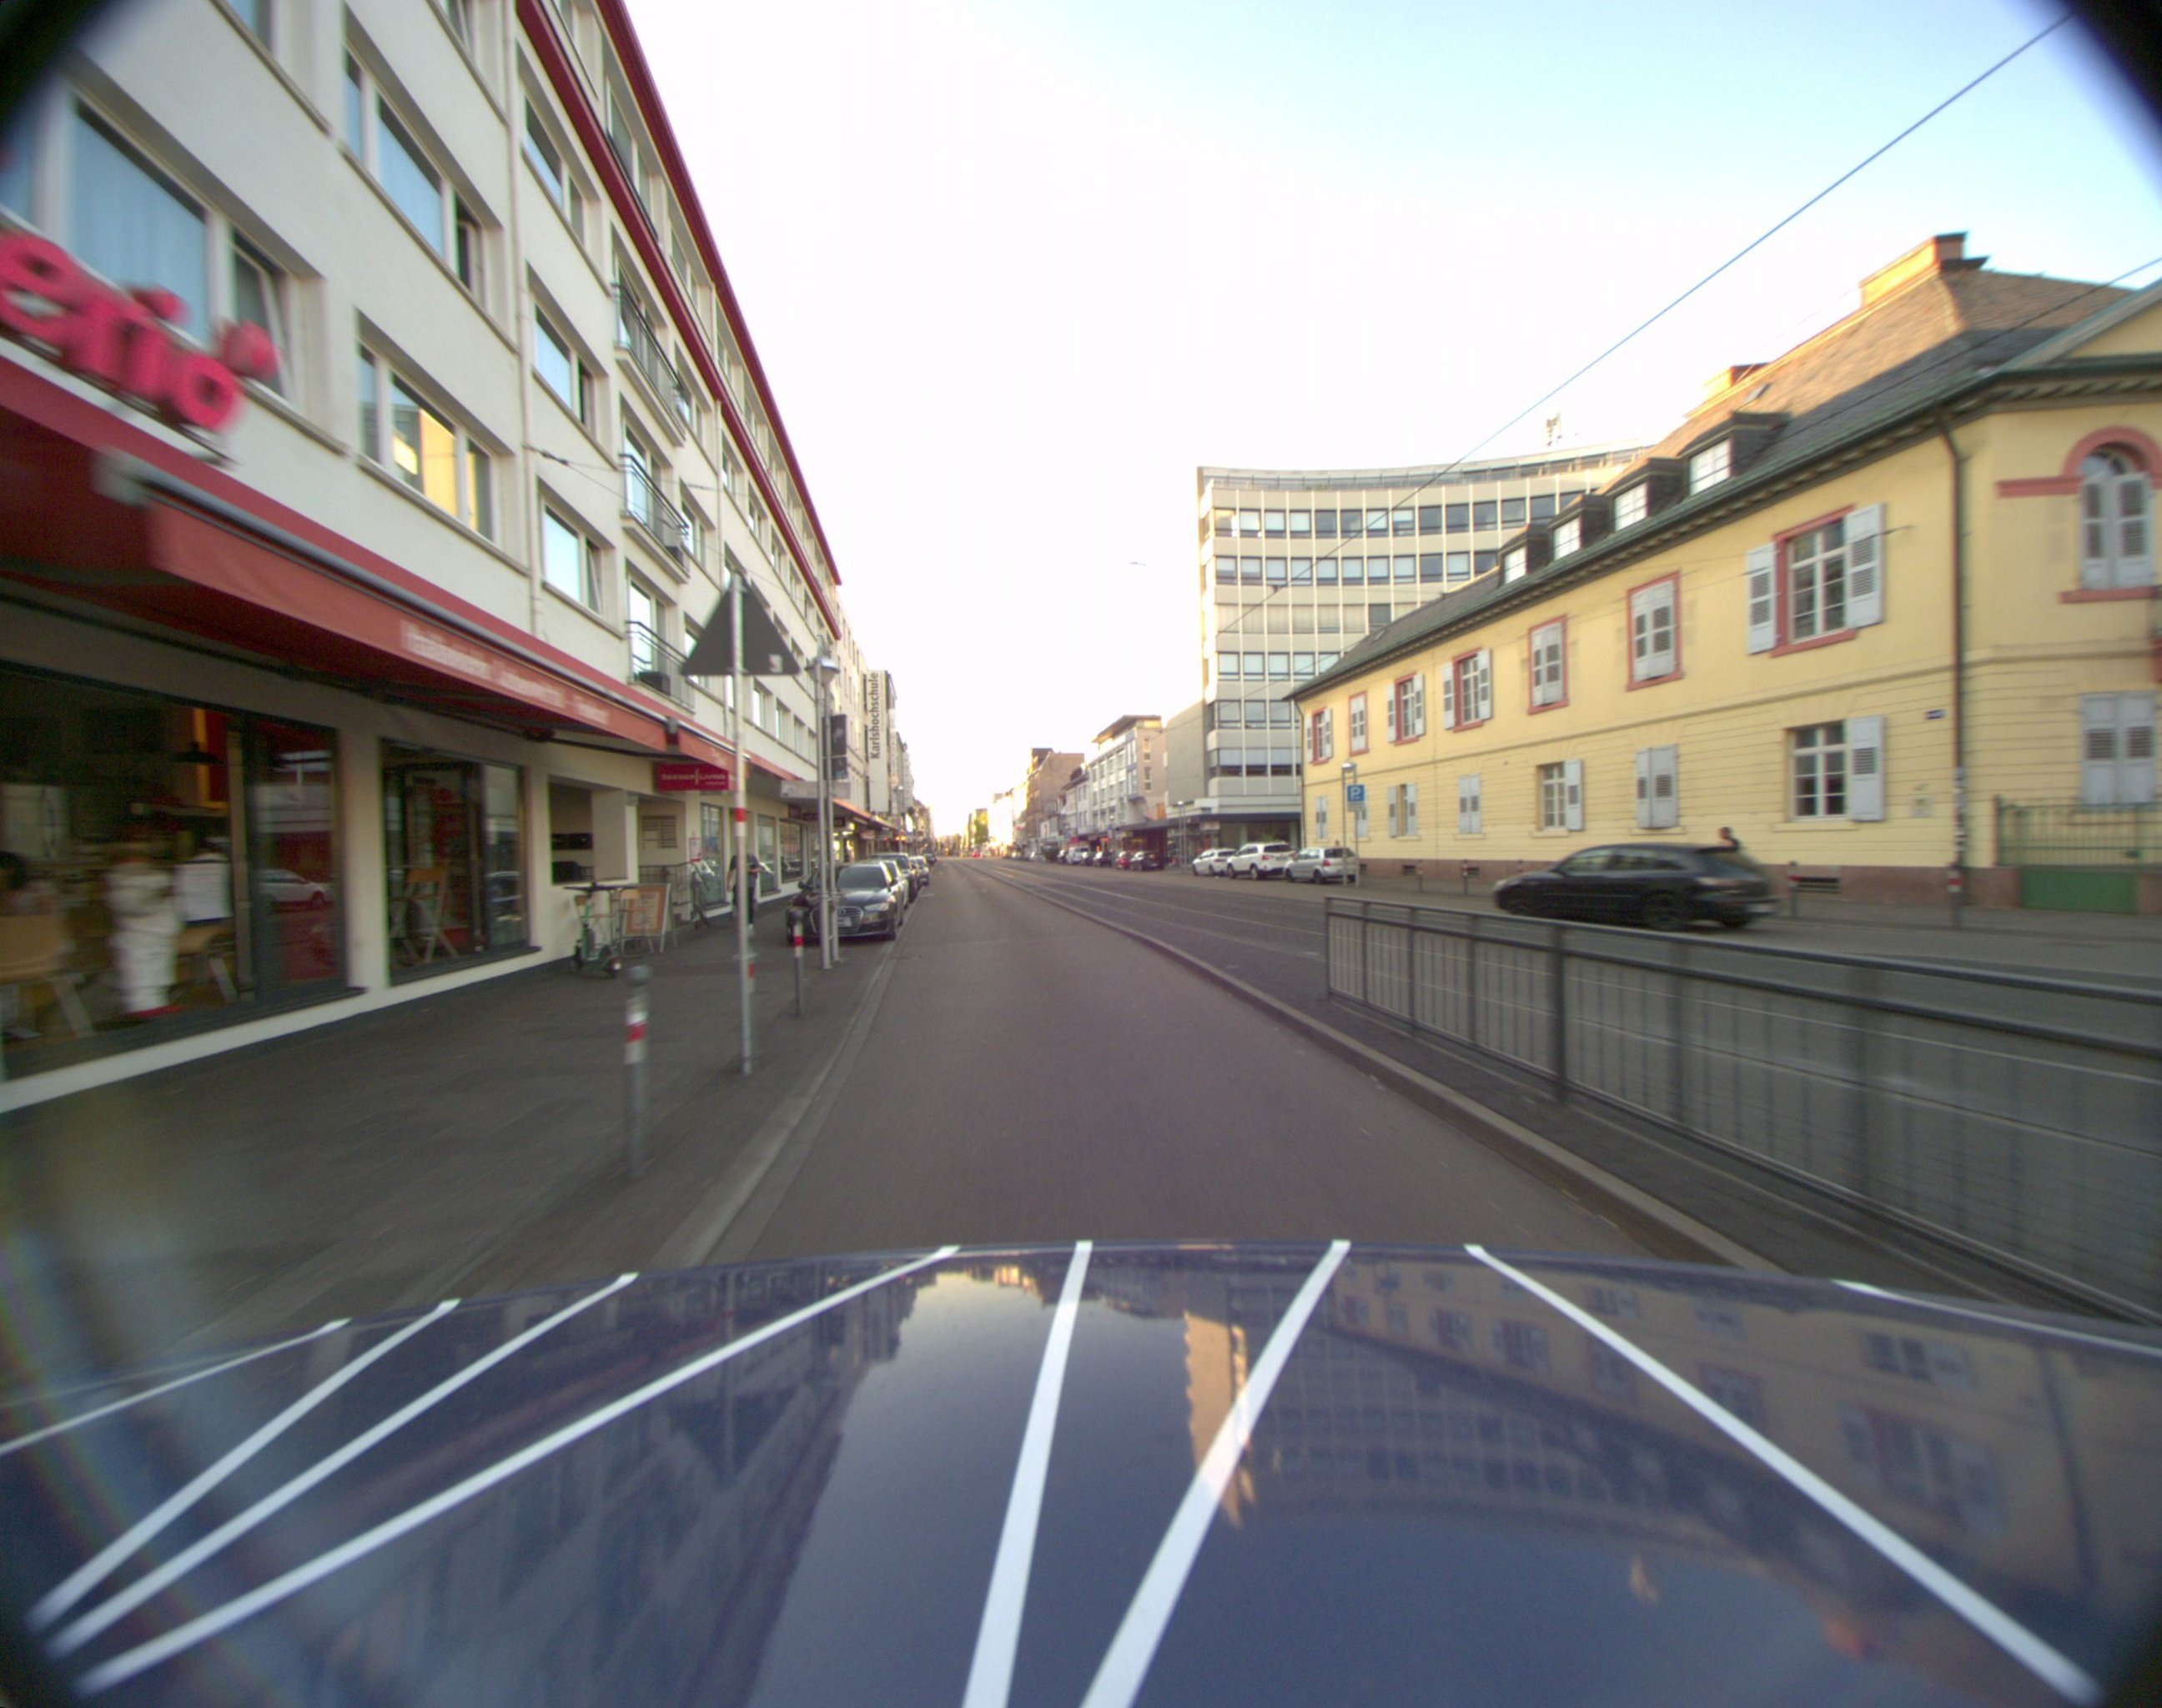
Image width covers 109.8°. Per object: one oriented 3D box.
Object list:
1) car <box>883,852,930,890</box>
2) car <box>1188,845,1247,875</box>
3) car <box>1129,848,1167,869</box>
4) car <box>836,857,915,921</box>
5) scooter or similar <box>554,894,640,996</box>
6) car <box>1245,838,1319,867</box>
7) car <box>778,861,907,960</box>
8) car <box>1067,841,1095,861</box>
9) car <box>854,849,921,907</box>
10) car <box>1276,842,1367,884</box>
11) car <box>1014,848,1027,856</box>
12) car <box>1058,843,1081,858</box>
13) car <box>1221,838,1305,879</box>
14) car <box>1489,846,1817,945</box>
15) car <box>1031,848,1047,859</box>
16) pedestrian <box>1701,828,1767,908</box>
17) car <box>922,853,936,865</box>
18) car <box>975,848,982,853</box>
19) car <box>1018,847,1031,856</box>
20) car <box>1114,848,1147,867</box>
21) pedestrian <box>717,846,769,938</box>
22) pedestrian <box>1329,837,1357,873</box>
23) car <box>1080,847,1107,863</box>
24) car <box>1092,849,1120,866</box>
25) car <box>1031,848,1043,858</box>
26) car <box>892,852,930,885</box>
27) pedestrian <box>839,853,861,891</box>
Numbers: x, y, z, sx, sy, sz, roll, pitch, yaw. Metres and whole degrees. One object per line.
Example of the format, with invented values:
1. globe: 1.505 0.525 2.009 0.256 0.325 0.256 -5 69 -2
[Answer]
1. car: -7.956 0.733 34.859 1.787 1.513 4.352 -3 1 -10
2. car: 7.424 0.312 41.853 1.726 1.444 4.279 -4 1 -11
3. car: 4.818 0.299 55.293 1.697 1.417 3.961 -4 1 -10
4. car: -5.549 0.872 20.927 1.657 1.413 4.186 -3 2 -10
5. scooter or similar: -6.220 1.135 9.744 1.434 1.187 0.336 -1 1 33
6. car: 12.551 -0.089 47.578 4.001 1.544 1.912 -4 2 -12
7. car: -4.471 0.951 14.932 1.796 1.405 4.682 -4 2 -11
8. car: -0.053 -0.375 83.111 1.971 2.002 5.094 -4 2 -11
9. car: -6.604 0.744 26.296 1.862 1.691 4.413 -4 2 -11
10. car: 9.516 0.327 30.401 1.754 1.465 3.996 -4 1 -10
11. car: -11.934 -0.438 150.235 2.000 1.412 4.398 -4 2 -12
12. car: -1.386 -0.445 91.077 2.000 1.688 4.583 -3 2 -10
13. car: 8.419 0.173 35.612 1.893 1.651 4.755 -4 1 -12
14. car: 9.488 0.575 13.080 1.774 1.368 4.215 -2 1 -21
15. car: -6.552 -0.128 117.761 1.897 1.547 4.617 -3 2 -10
16. pedestrian: 12.981 0.263 15.117 0.722 1.527 0.718 -2 2 -15
17. car: -19.941 0.650 99.769 1.746 1.532 3.961 -2 1 -11
18. car: -32.736 -1.071 243.415 2.000 1.554 3.995 -4 2 -11
19. car: -10.319 -0.460 138.108 1.847 1.484 3.812 -3 2 -10
20. car: 3.907 0.242 60.519 1.697 1.426 3.588 -2 1 -10
21. pedestrian: -7.169 0.775 16.146 0.777 1.870 0.933 -1 2 -12
22. pedestrian: 11.387 0.032 33.031 0.802 1.533 0.876 -3 2 -8
23. car: 1.212 0.088 76.273 1.878 1.419 4.566 -3 2 -10
24. car: 2.286 0.315 69.834 1.796 1.452 4.087 -1 1 -9
25. car: -7.117 -0.197 122.458 1.661 1.562 3.467 -3 2 -8
26. car: -9.050 0.714 40.705 1.798 1.524 4.851 -4 2 -11
27. pedestrian: -9.713 0.752 31.973 0.735 1.565 0.966 -2 1 -11
